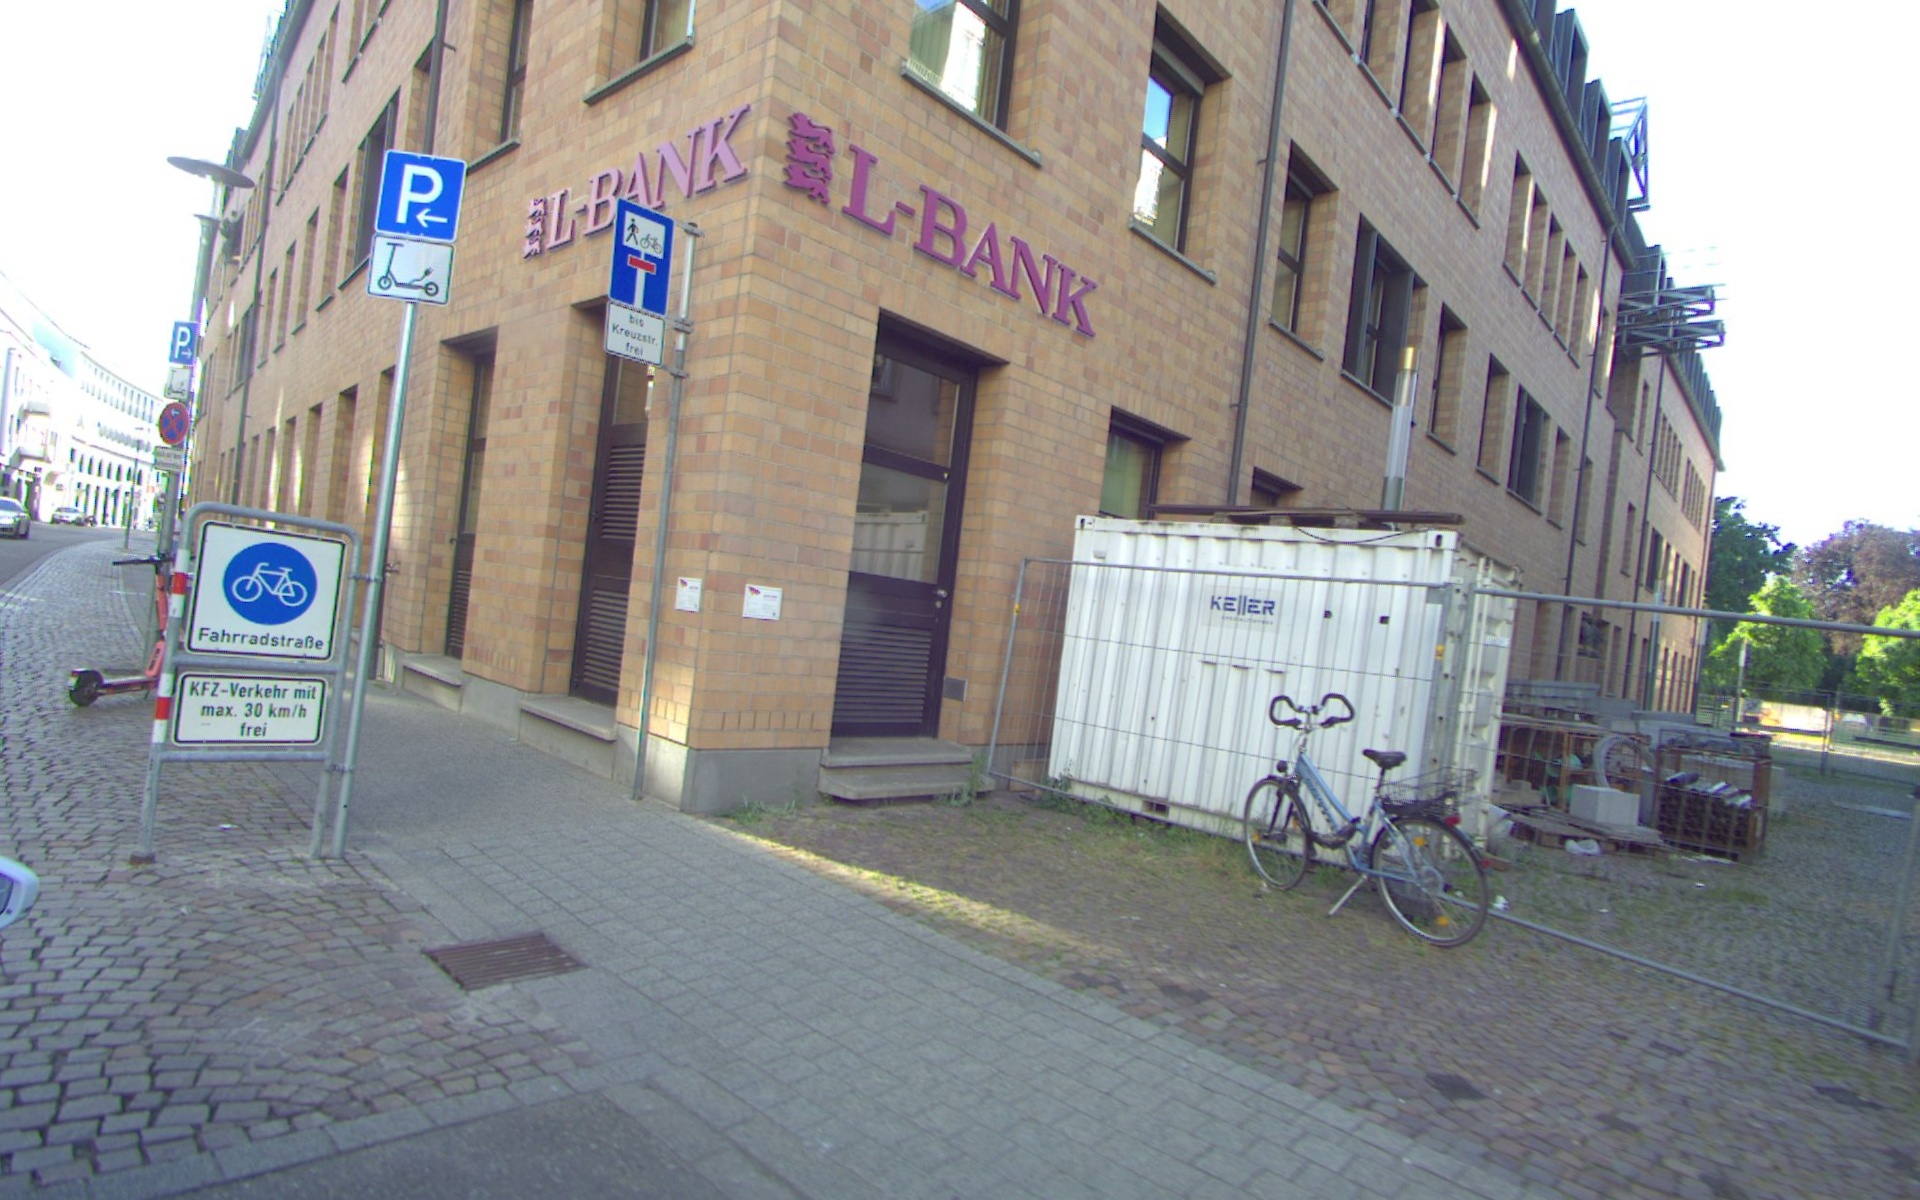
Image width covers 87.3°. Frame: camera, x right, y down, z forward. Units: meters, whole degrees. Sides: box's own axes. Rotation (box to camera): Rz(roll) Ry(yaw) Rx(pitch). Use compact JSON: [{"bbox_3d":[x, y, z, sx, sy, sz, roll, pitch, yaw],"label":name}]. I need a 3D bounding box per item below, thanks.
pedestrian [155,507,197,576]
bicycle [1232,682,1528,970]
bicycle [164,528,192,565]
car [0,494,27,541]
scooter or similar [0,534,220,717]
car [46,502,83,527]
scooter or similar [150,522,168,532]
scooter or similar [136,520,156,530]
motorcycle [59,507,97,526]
[{"bbox_3d":[-20.877,-1.549,26.774,0.757,1.739,0.812,4,2,-41],"label":"pedestrian"},{"bbox_3d":[2.330,1.206,5.793,0.317,1.265,1.570,7,0,-30],"label":"bicycle"},{"bbox_3d":[-26.327,-1.819,33.860,0.547,1.118,1.958,2,3,-43],"label":"bicycle"},{"bbox_3d":[-34.173,-2.994,35.398,1.707,1.536,4.113,6,0,-41],"label":"car"},{"bbox_3d":[-6.664,0.194,7.929,0.529,1.250,1.418,8,0,-3],"label":"scooter or similar"},{"bbox_3d":[-70.152,-6.681,78.837,1.728,1.625,3.497,8,-1,-36],"label":"car"},{"bbox_3d":[-94.824,-8.636,119.096,0.518,0.939,2.225,8,-1,-7],"label":"scooter or similar"},{"bbox_3d":[-92.520,-8.495,114.341,0.518,0.939,2.225,8,-1,-7],"label":"scooter or similar"},{"bbox_3d":[-76.765,-7.257,87.603,2.378,1.334,0.853,6,0,-38],"label":"motorcycle"}]
